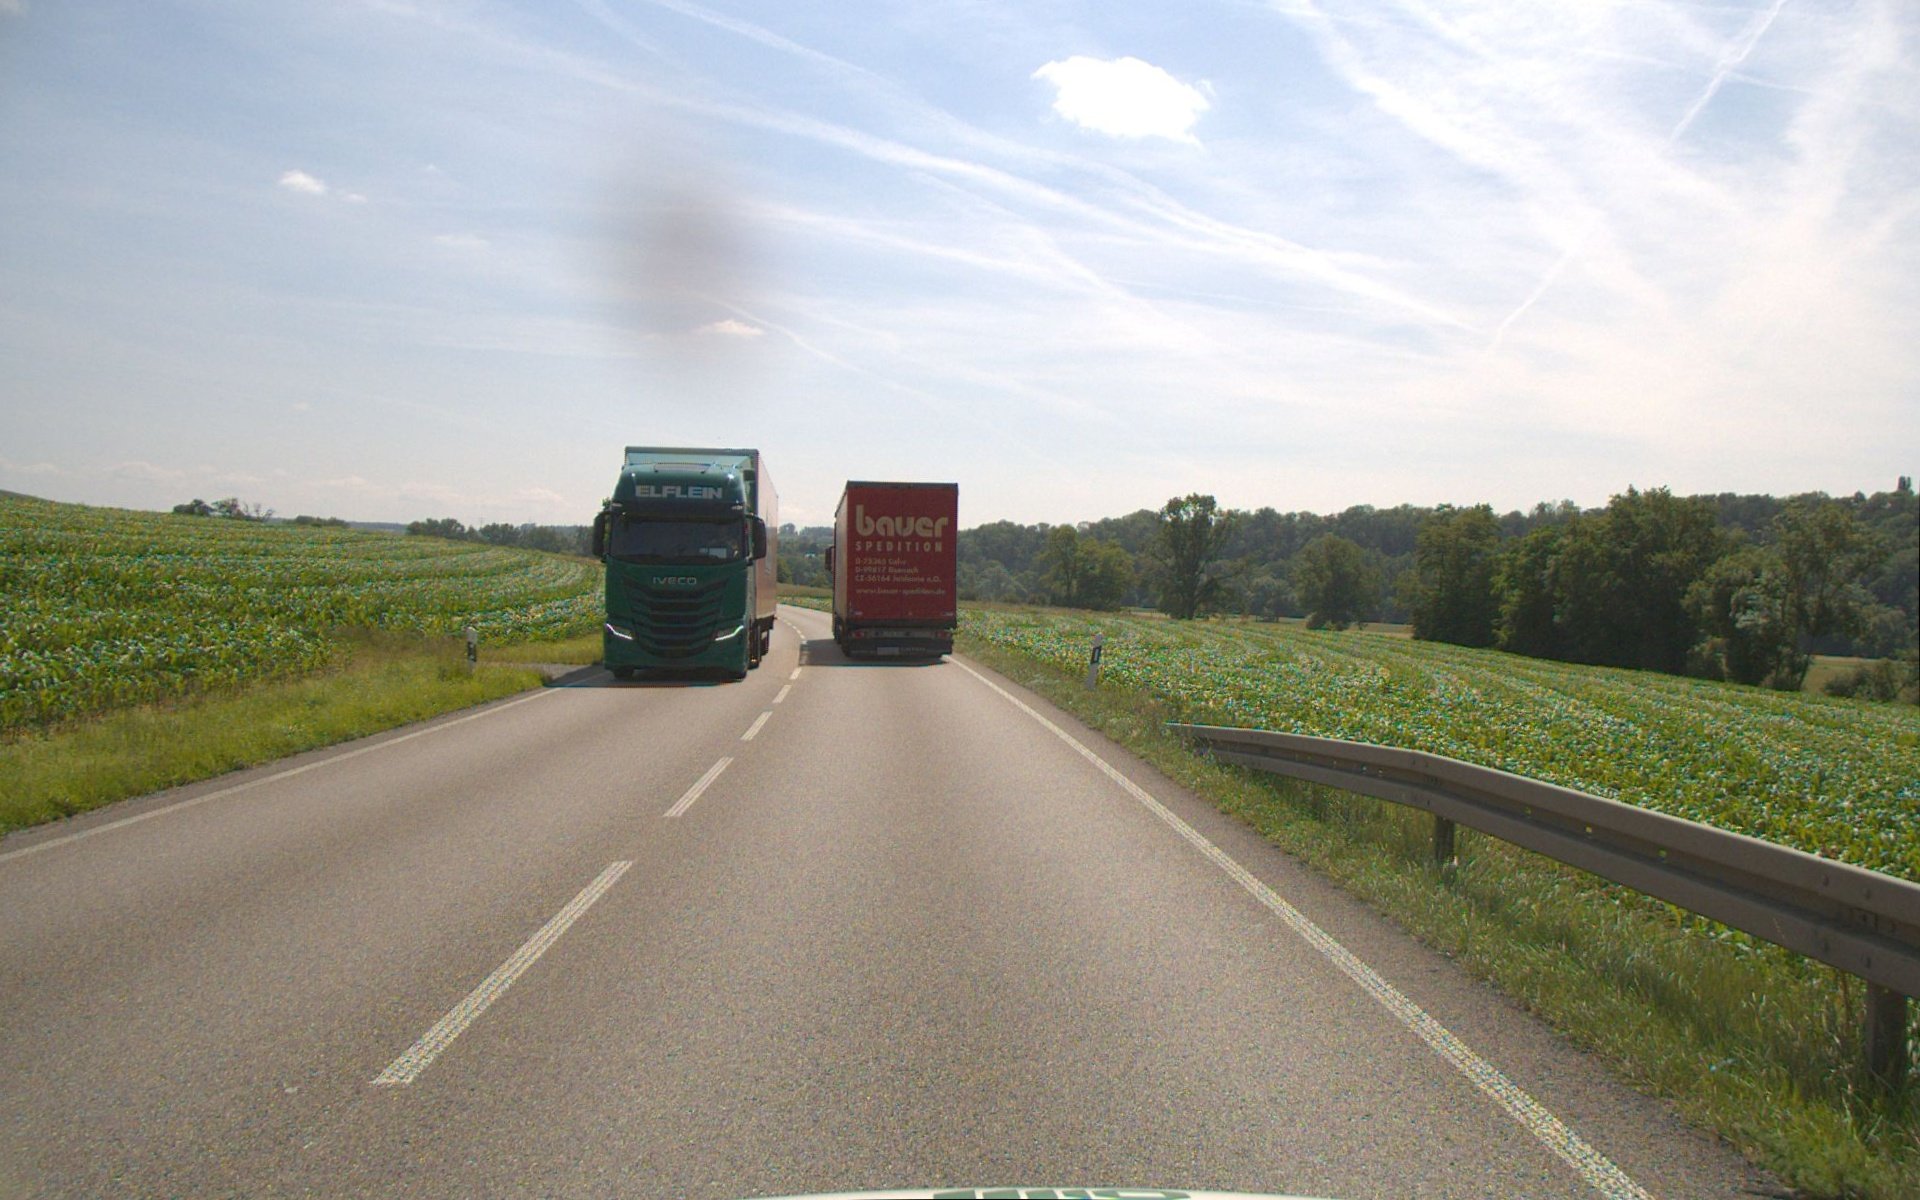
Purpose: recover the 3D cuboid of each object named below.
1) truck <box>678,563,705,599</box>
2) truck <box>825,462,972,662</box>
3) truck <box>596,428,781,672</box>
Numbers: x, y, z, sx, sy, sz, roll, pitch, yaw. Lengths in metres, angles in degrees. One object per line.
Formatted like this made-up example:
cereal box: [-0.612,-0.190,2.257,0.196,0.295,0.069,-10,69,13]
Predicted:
truck: [-32.133,-2.291,197.469,2.776,4.062,16.491,0,1,-10]
truck: [-1.678,-0.823,40.530,3.034,4.337,8.304,1,0,-6]
truck: [-5.482,-0.891,36.317,2.717,4.068,17.009,1,0,-5]
